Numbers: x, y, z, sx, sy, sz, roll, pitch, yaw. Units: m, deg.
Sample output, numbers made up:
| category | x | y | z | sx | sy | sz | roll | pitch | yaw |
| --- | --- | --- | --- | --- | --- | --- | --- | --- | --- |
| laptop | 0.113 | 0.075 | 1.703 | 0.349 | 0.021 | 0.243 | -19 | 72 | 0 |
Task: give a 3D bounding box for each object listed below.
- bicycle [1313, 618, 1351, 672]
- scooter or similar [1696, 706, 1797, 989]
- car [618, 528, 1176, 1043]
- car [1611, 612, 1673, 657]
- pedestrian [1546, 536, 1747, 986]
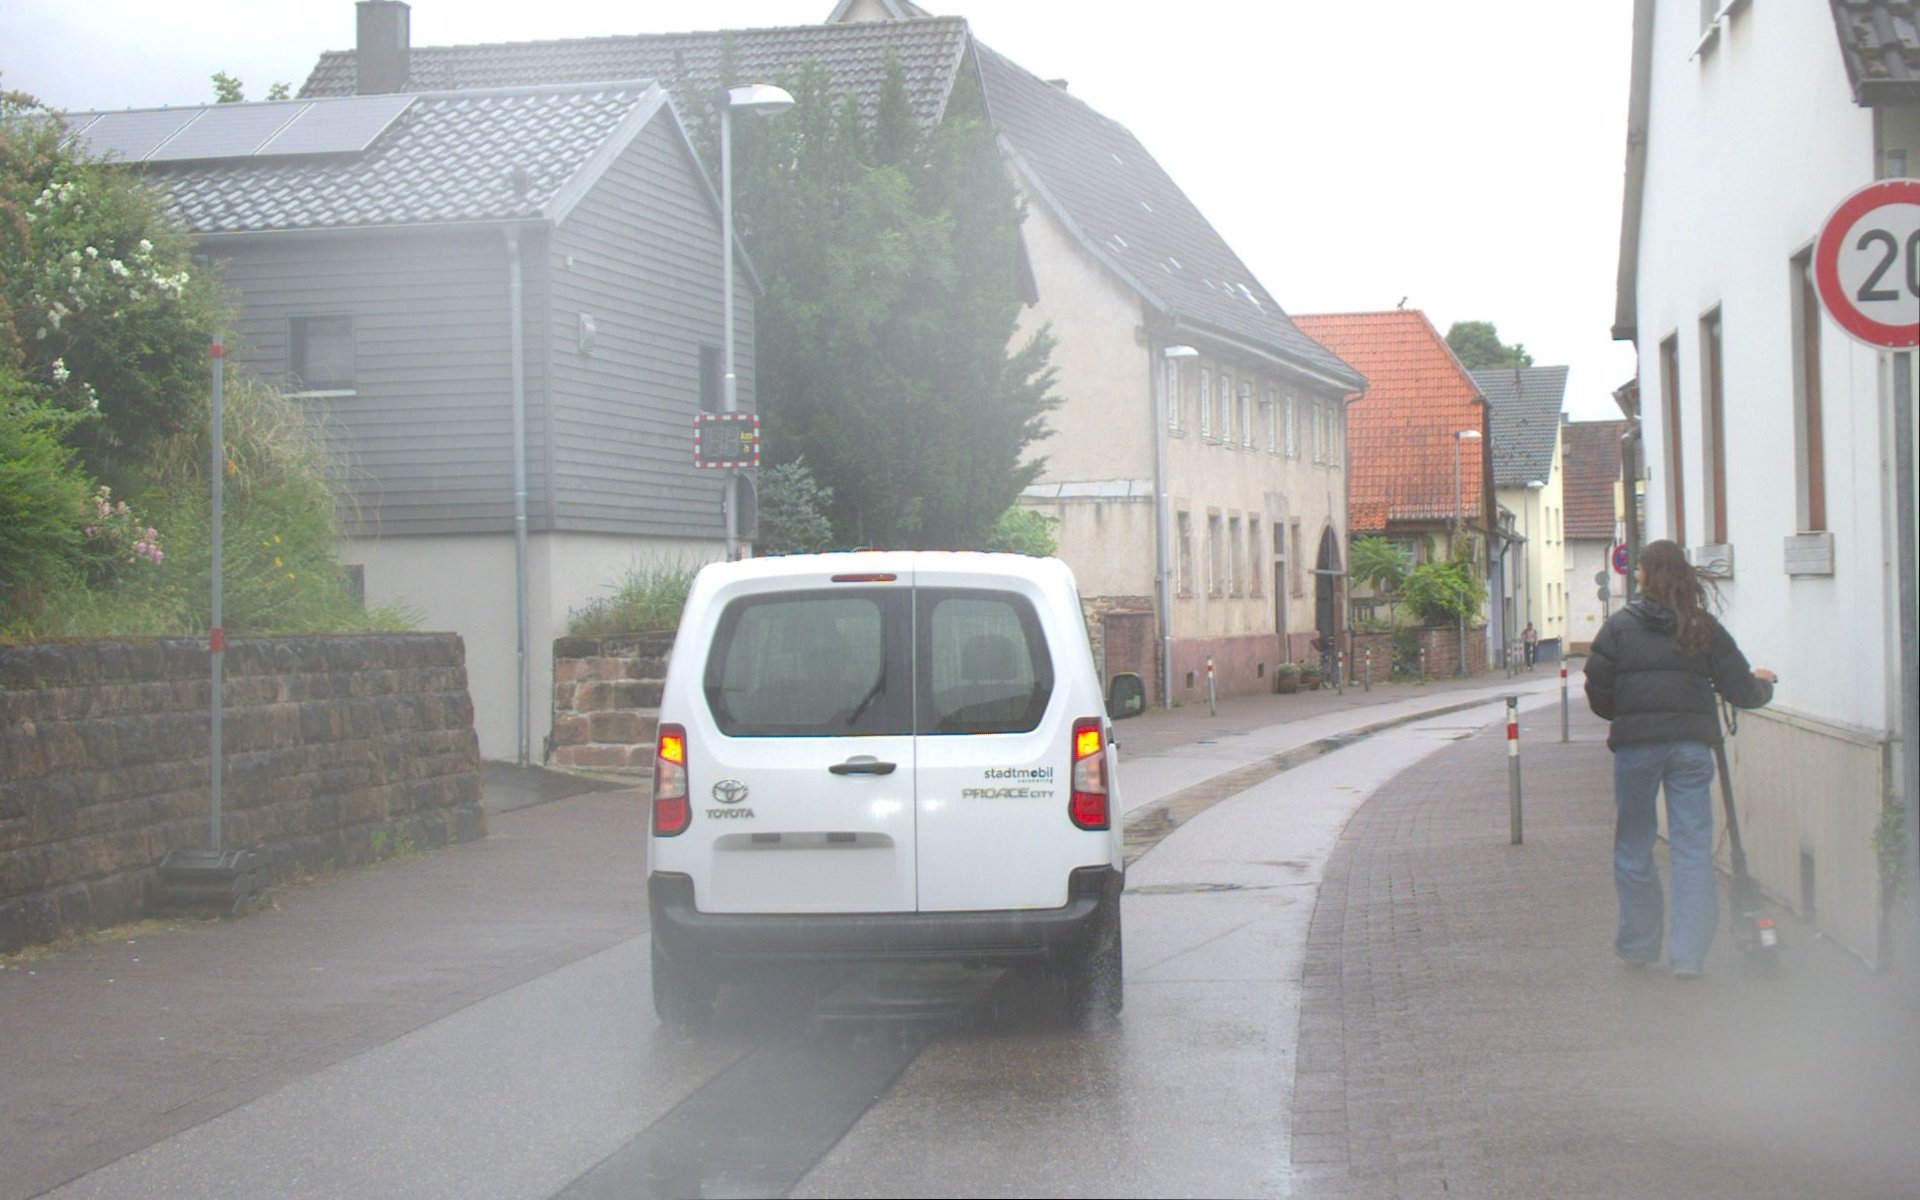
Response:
| category | x | y | z | sx | sy | sz | roll | pitch | yaw |
| --- | --- | --- | --- | --- | --- | --- | --- | --- | --- |
| bicycle | 8.170 | 0.987 | 75.527 | 0.483 | 1.176 | 1.833 | 0 | -1 | 18 |
| scooter or similar | 3.103 | 0.956 | 13.598 | 0.245 | 1.024 | 1.100 | 1 | 1 | 6 |
| car | -0.103 | 0.686 | 14.339 | 1.795 | 1.812 | 4.100 | 1 | -1 | 6 |
| car | 21.283 | 1.075 | 107.208 | 1.563 | 1.367 | 3.582 | 0 | -1 | 16 |
| pedestrian | 2.718 | 0.613 | 13.675 | 0.694 | 1.726 | 0.821 | 1 | 1 | 7 |
